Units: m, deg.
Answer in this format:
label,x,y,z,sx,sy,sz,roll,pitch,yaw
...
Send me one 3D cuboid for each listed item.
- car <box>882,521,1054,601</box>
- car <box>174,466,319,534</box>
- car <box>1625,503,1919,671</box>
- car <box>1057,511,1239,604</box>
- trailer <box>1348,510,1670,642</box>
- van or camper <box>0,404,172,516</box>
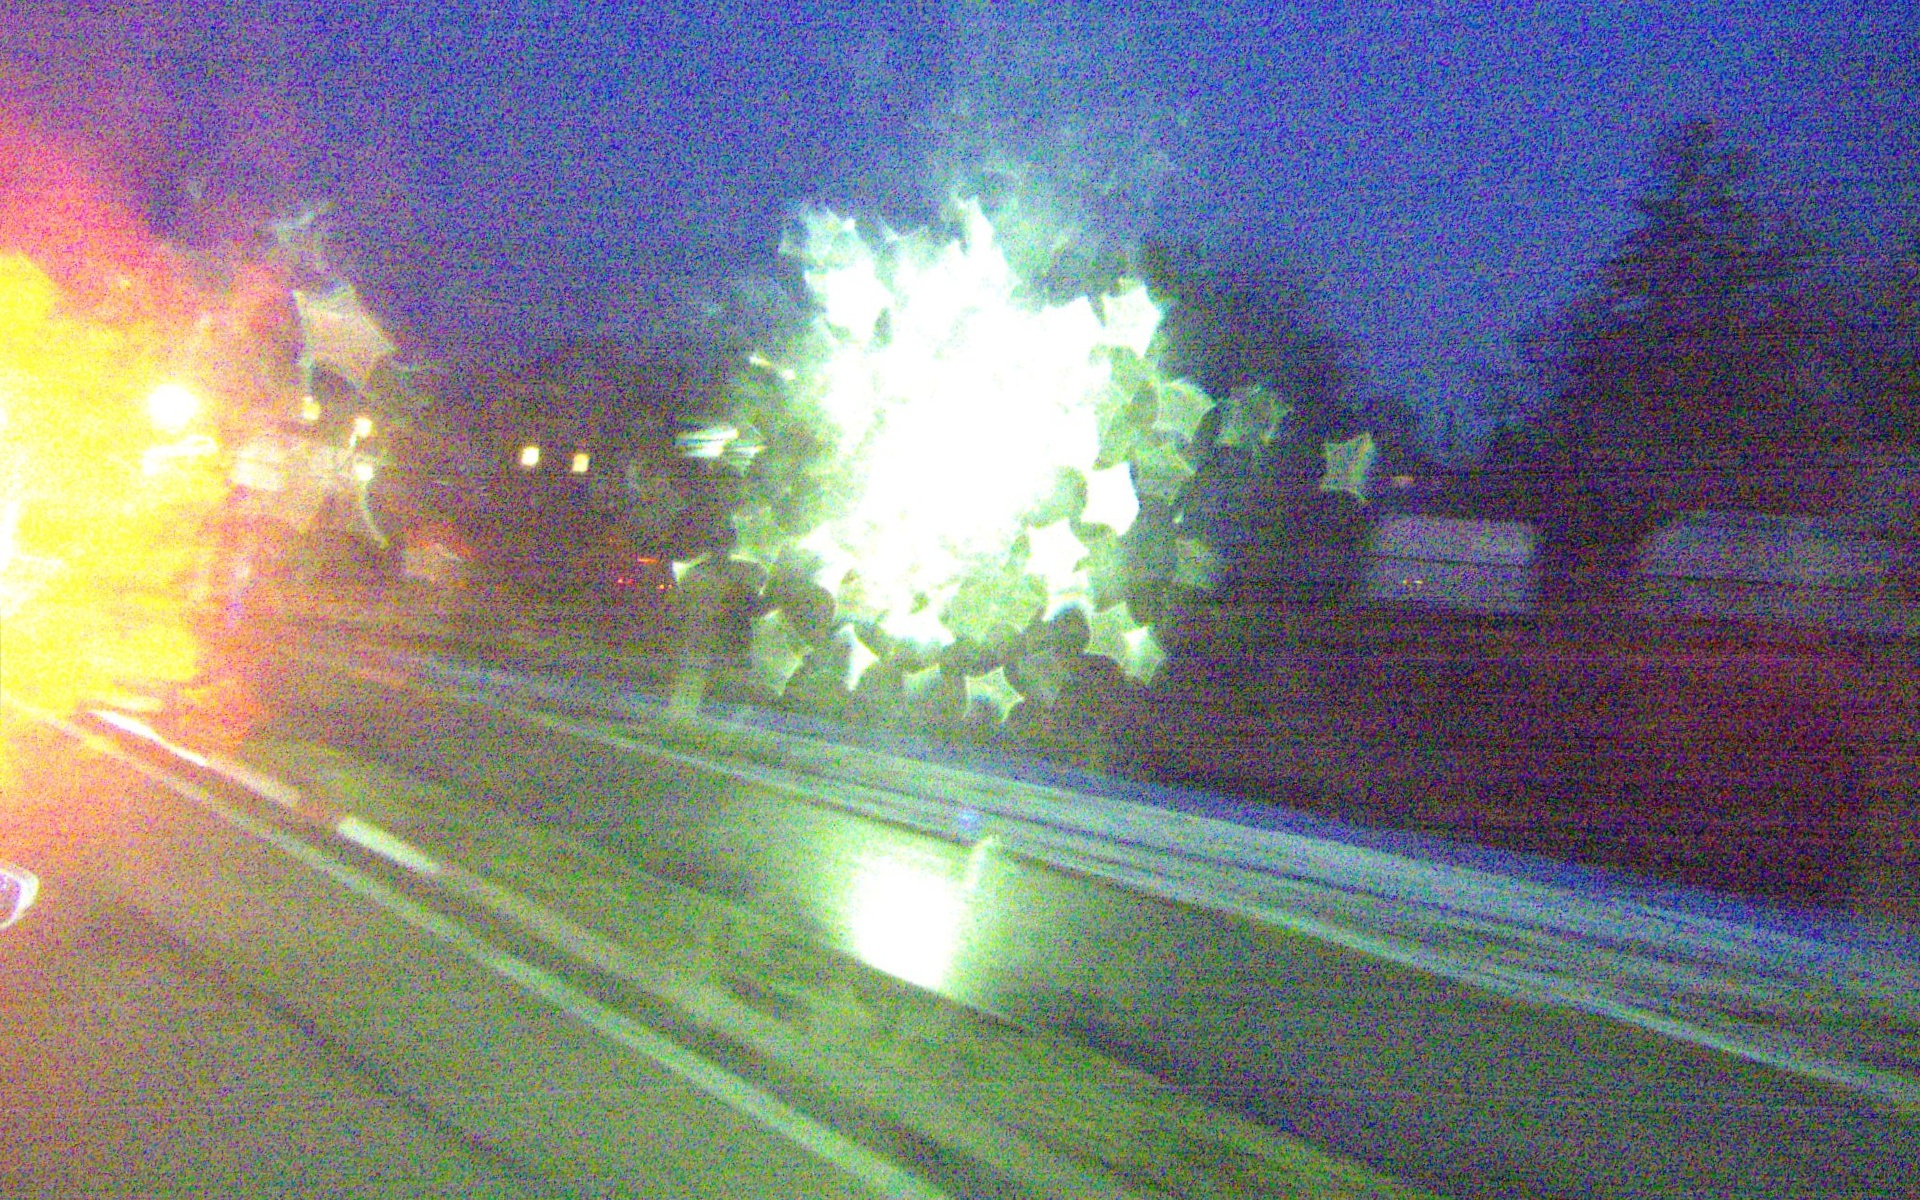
label,x,y,z,sx,sy,sz,roll,pitch,yaw
car,0.219,-0.979,25.460,3.925,1.489,1.620,6,-2,18
car,-23.565,-3.294,33.241,4.056,1.636,1.643,7,-2,17
car,16.669,-0.236,19.831,5.349,2.666,2.122,6,-1,20
car,4.488,-1.004,23.935,3.925,1.659,1.619,6,-2,18
trailer,11.496,-0.508,21.647,5.614,2.096,2.234,6,-1,20
van or camper,-30.359,-4.761,33.886,6.238,2.942,2.591,7,-1,16
